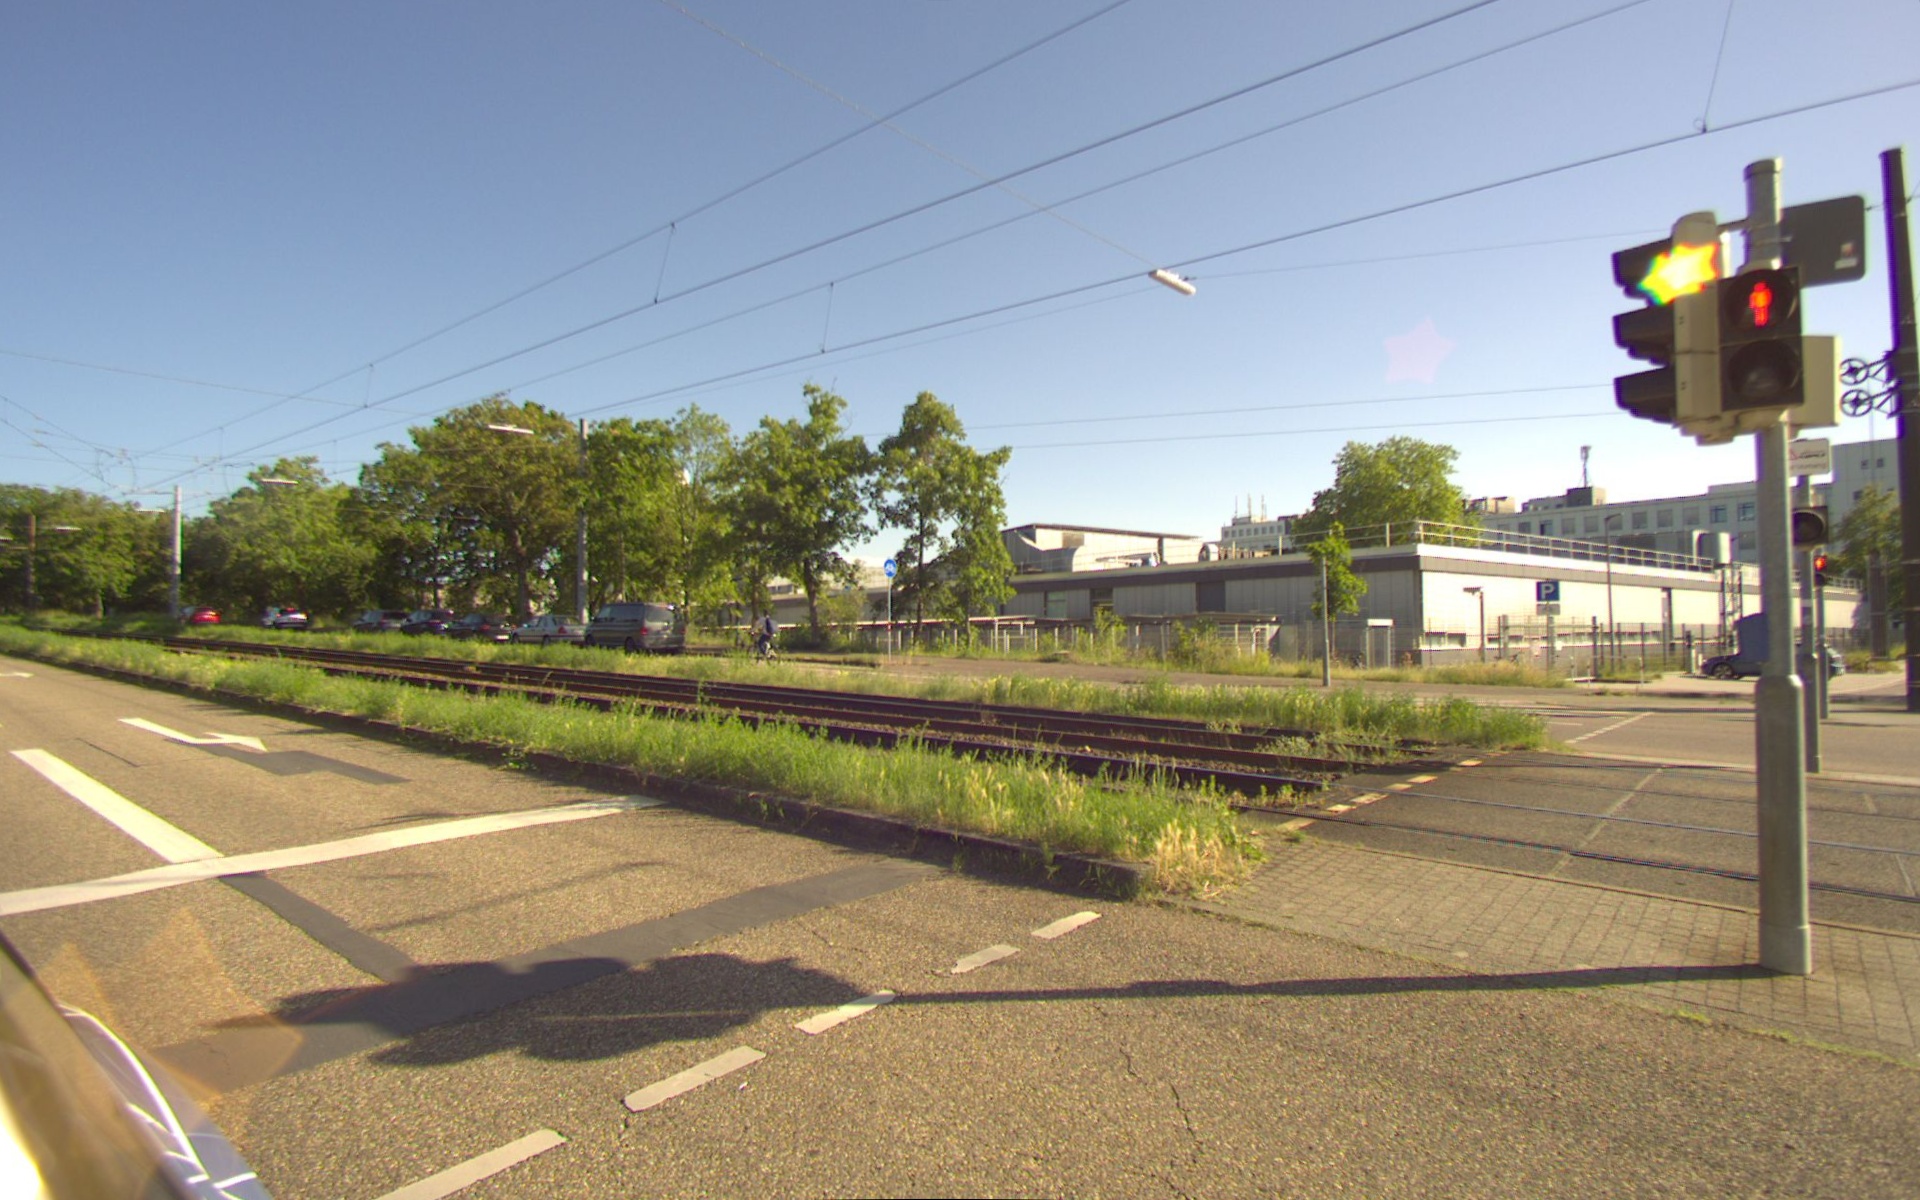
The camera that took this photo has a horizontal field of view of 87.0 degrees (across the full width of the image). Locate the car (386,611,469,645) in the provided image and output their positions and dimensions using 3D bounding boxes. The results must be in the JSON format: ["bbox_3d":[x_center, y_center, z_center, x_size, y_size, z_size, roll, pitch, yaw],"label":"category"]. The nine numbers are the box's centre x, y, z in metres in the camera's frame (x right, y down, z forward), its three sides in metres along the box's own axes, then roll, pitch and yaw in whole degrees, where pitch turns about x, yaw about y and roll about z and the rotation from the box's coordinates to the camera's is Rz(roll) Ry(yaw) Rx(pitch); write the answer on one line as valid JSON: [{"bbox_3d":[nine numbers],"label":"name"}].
[{"bbox_3d":[-26.158,1.340,49.700,4.614,1.599,2.102,-1,-1,41],"label":"car"}]

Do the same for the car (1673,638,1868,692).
[{"bbox_3d":[30.144,2.351,37.814,2.138,1.762,5.304,0,-1,-37],"label":"car"}]

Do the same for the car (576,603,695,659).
[{"bbox_3d":[-12.066,1.132,37.541,4.684,1.949,2.178,-1,-1,42],"label":"car"}]

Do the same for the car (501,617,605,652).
[{"bbox_3d":[-16.976,1.403,42.152,4.612,1.391,2.103,-1,-1,39],"label":"car"}]

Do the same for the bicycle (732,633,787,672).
[{"bbox_3d":[-6.006,1.561,30.298,1.781,1.110,0.689,-1,-1,42],"label":"bicycle"}]

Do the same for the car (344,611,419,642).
[{"bbox_3d":[-30.995,1.396,54.170,4.557,1.575,2.103,-1,-1,41],"label":"car"}]

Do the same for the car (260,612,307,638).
[{"bbox_3d":[-42.649,1.536,63.806,1.833,1.569,4.161,1,-1,-43],"label":"car"}]

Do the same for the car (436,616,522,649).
[{"bbox_3d":[-21.960,1.439,46.153,4.486,1.437,1.935,-1,-1,42],"label":"car"}]

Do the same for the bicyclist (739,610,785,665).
[{"bbox_3d":[-5.913,1.111,30.216,1.236,1.605,0.794,-1,-1,42],"label":"bicyclist"}]

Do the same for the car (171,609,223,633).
[{"bbox_3d":[-57.223,1.550,75.863,4.797,1.746,2.290,-1,-1,43],"label":"car"}]
